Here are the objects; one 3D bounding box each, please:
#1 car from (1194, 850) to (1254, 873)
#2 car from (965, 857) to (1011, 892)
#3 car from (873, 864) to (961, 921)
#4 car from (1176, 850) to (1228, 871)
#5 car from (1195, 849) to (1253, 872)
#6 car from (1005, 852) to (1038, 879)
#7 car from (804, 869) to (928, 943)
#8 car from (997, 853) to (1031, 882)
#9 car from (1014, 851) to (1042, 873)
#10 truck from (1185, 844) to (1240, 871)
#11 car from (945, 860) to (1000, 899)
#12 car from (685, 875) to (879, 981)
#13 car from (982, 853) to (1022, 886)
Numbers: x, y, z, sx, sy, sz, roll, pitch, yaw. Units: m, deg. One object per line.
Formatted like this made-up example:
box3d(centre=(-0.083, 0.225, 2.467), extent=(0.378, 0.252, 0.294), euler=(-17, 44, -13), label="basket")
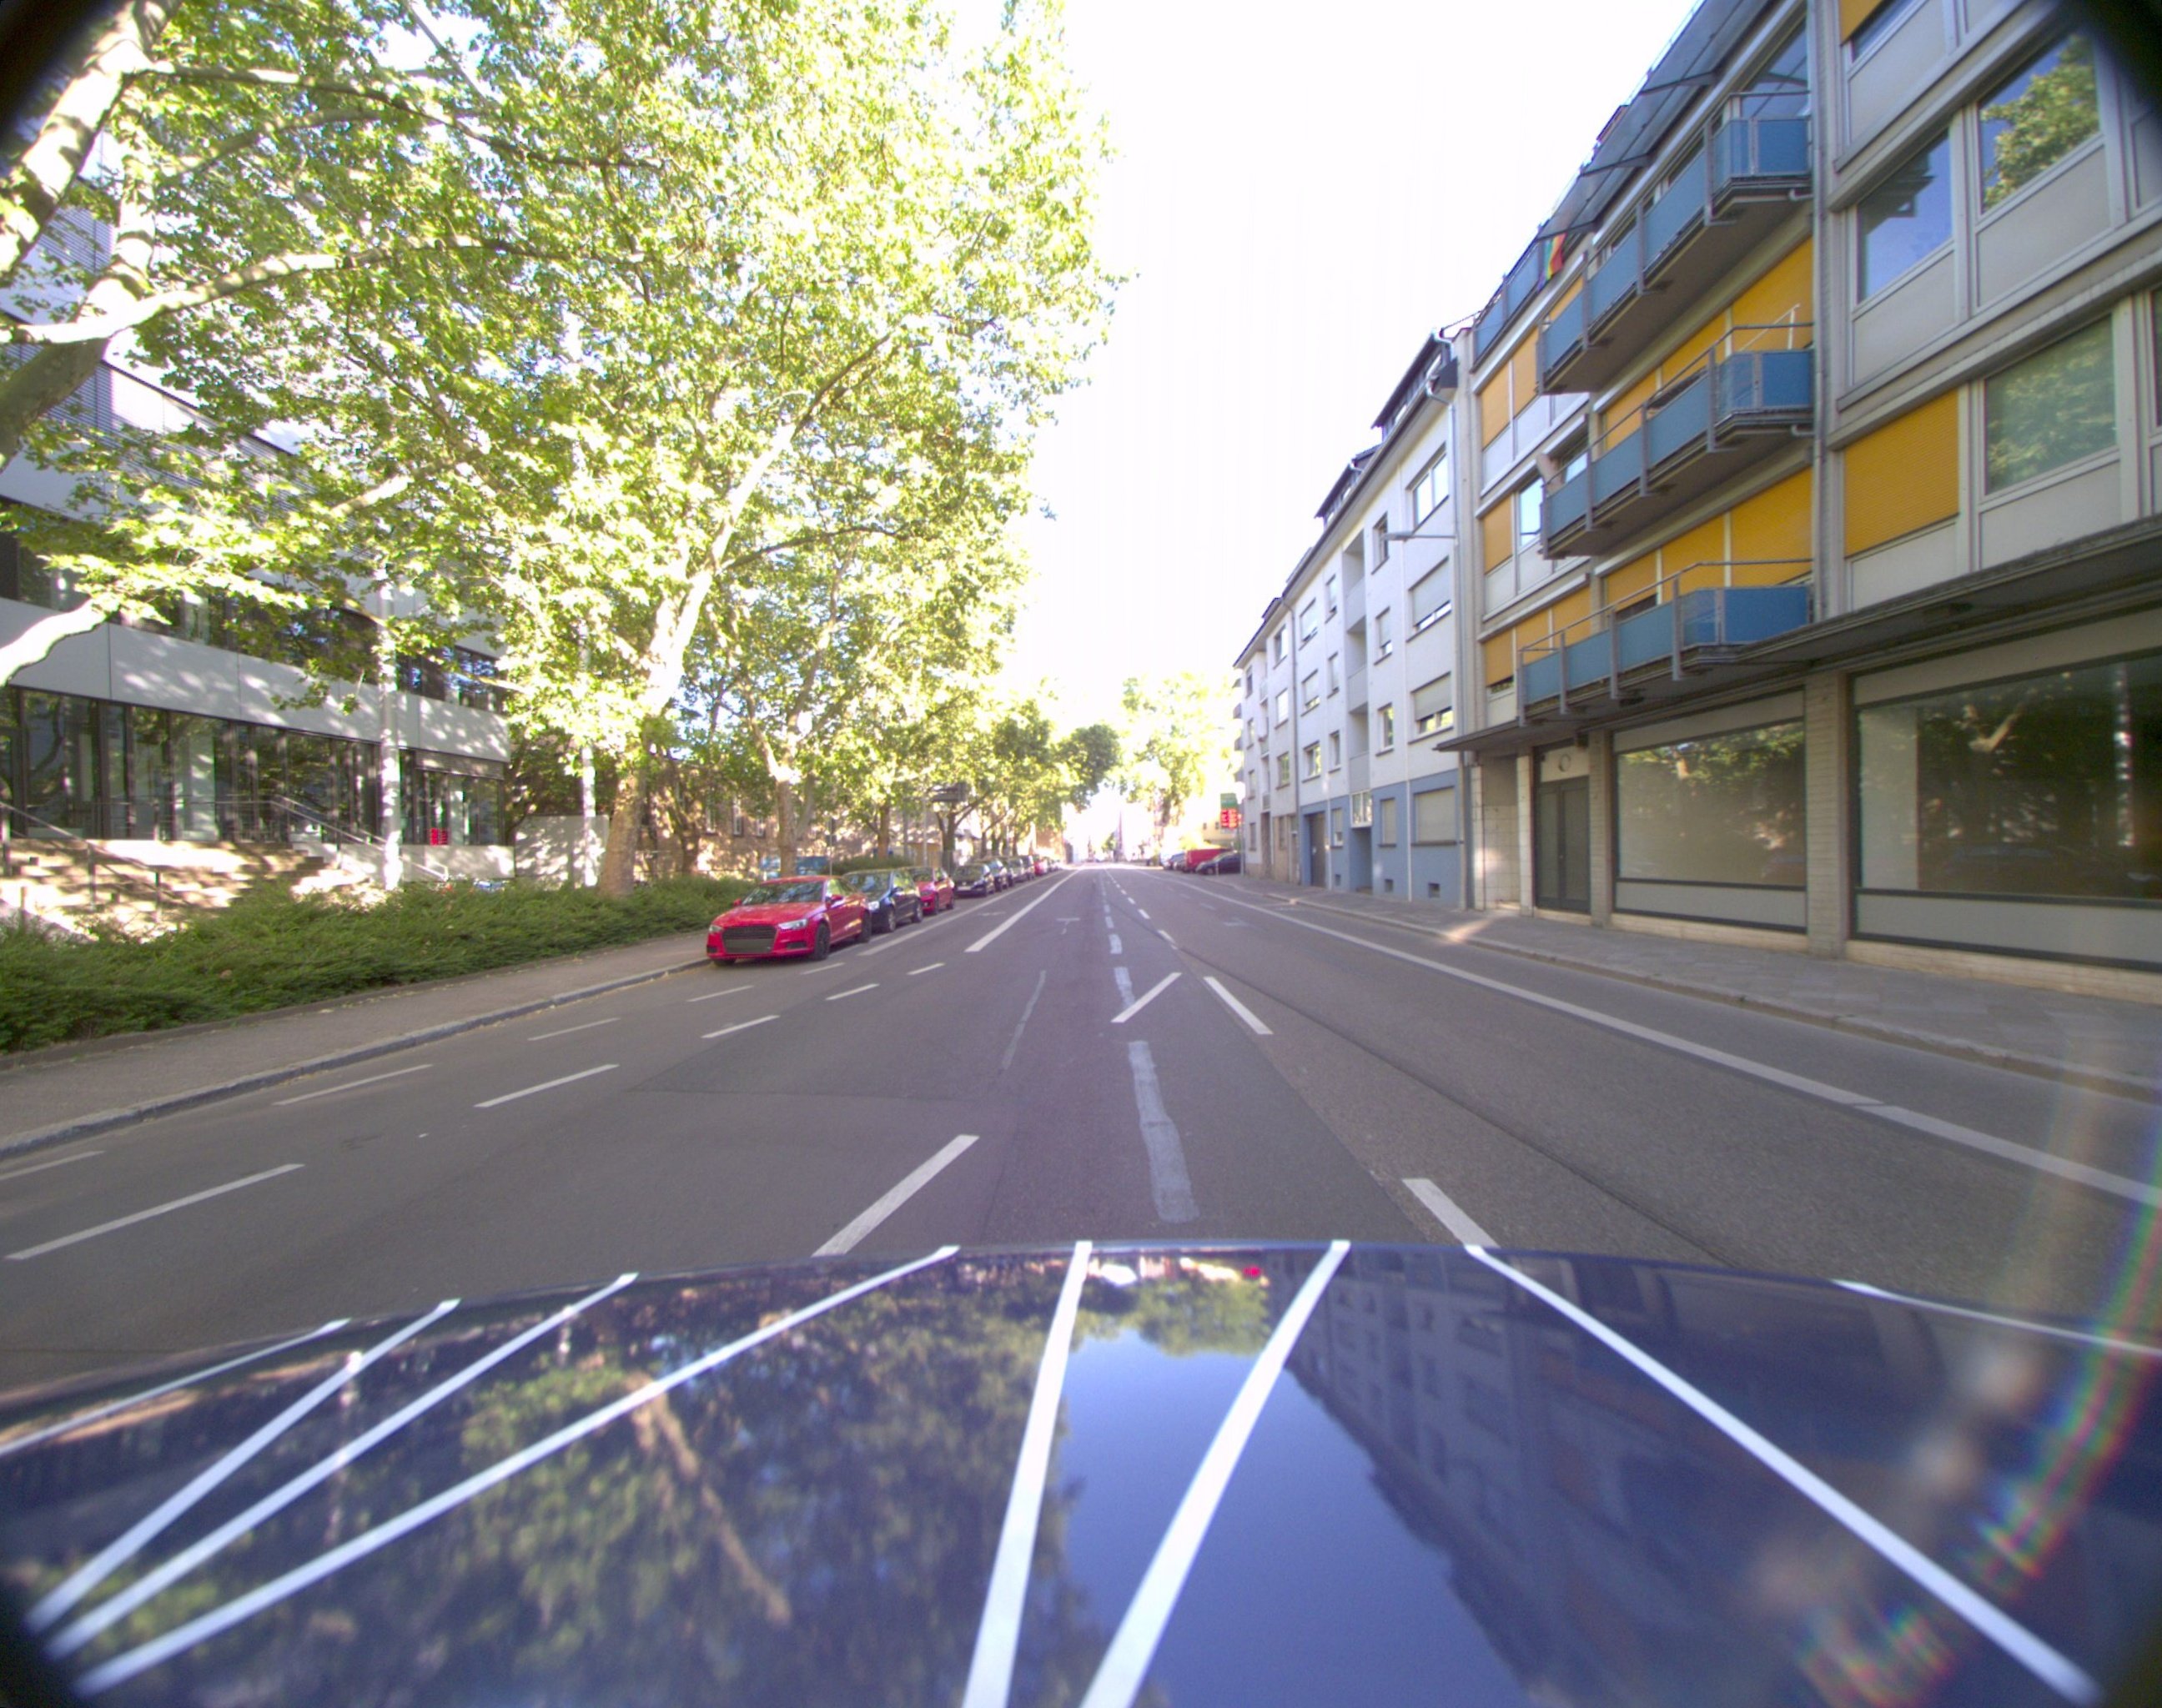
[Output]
box3d(centre=(10.258, 0.544, 54.791), extent=(3.996, 1.449, 1.761), euler=(-2, 1, 2), label="car")
box3d(centre=(-4.597, 0.979, 38.129), extent=(1.790, 1.544, 4.163), euler=(-3, 0, 0), label="car")
box3d(centre=(-5.025, 1.124, 23.856), extent=(1.818, 1.475, 4.163), euler=(-3, 0, 0), label="car")
box3d(centre=(9.983, 0.524, 62.841), extent=(3.996, 1.494, 1.761), euler=(-2, 1, 2), label="car")
box3d(centre=(10.732, 0.477, 57.139), extent=(3.996, 1.494, 1.761), euler=(-2, 1, 2), label="car")
box3d(centre=(-4.313, 0.798, 55.659), extent=(2.042, 1.745, 4.552), euler=(-3, 0, 0), label="car")
box3d(centre=(-5.078, 1.170, 18.573), extent=(1.818, 1.405, 4.163), euler=(-3, 0, 0), label="car")
box3d(centre=(-4.441, 0.854, 50.701), extent=(1.790, 1.745, 4.552), euler=(-3, 0, 0), label="car")
box3d(centre=(-4.587, 0.702, 66.090), extent=(2.042, 1.745, 4.552), euler=(-3, 0, 0), label="car")
box3d(centre=(10.372, 0.244, 59.988), extent=(3.996, 1.925, 1.761), euler=(-2, 1, 2), label="truck")
box3d(centre=(-4.698, 1.078, 33.383), extent=(1.790, 1.451, 4.163), euler=(-3, 0, 0), label="car")
box3d(centre=(-5.134, 1.192, 13.717), extent=(1.818, 1.405, 4.163), euler=(-3, 0, 0), label="car")
box3d(centre=(-4.520, 0.870, 44.145), extent=(1.790, 1.745, 4.345), euler=(-3, 0, 0), label="car")
